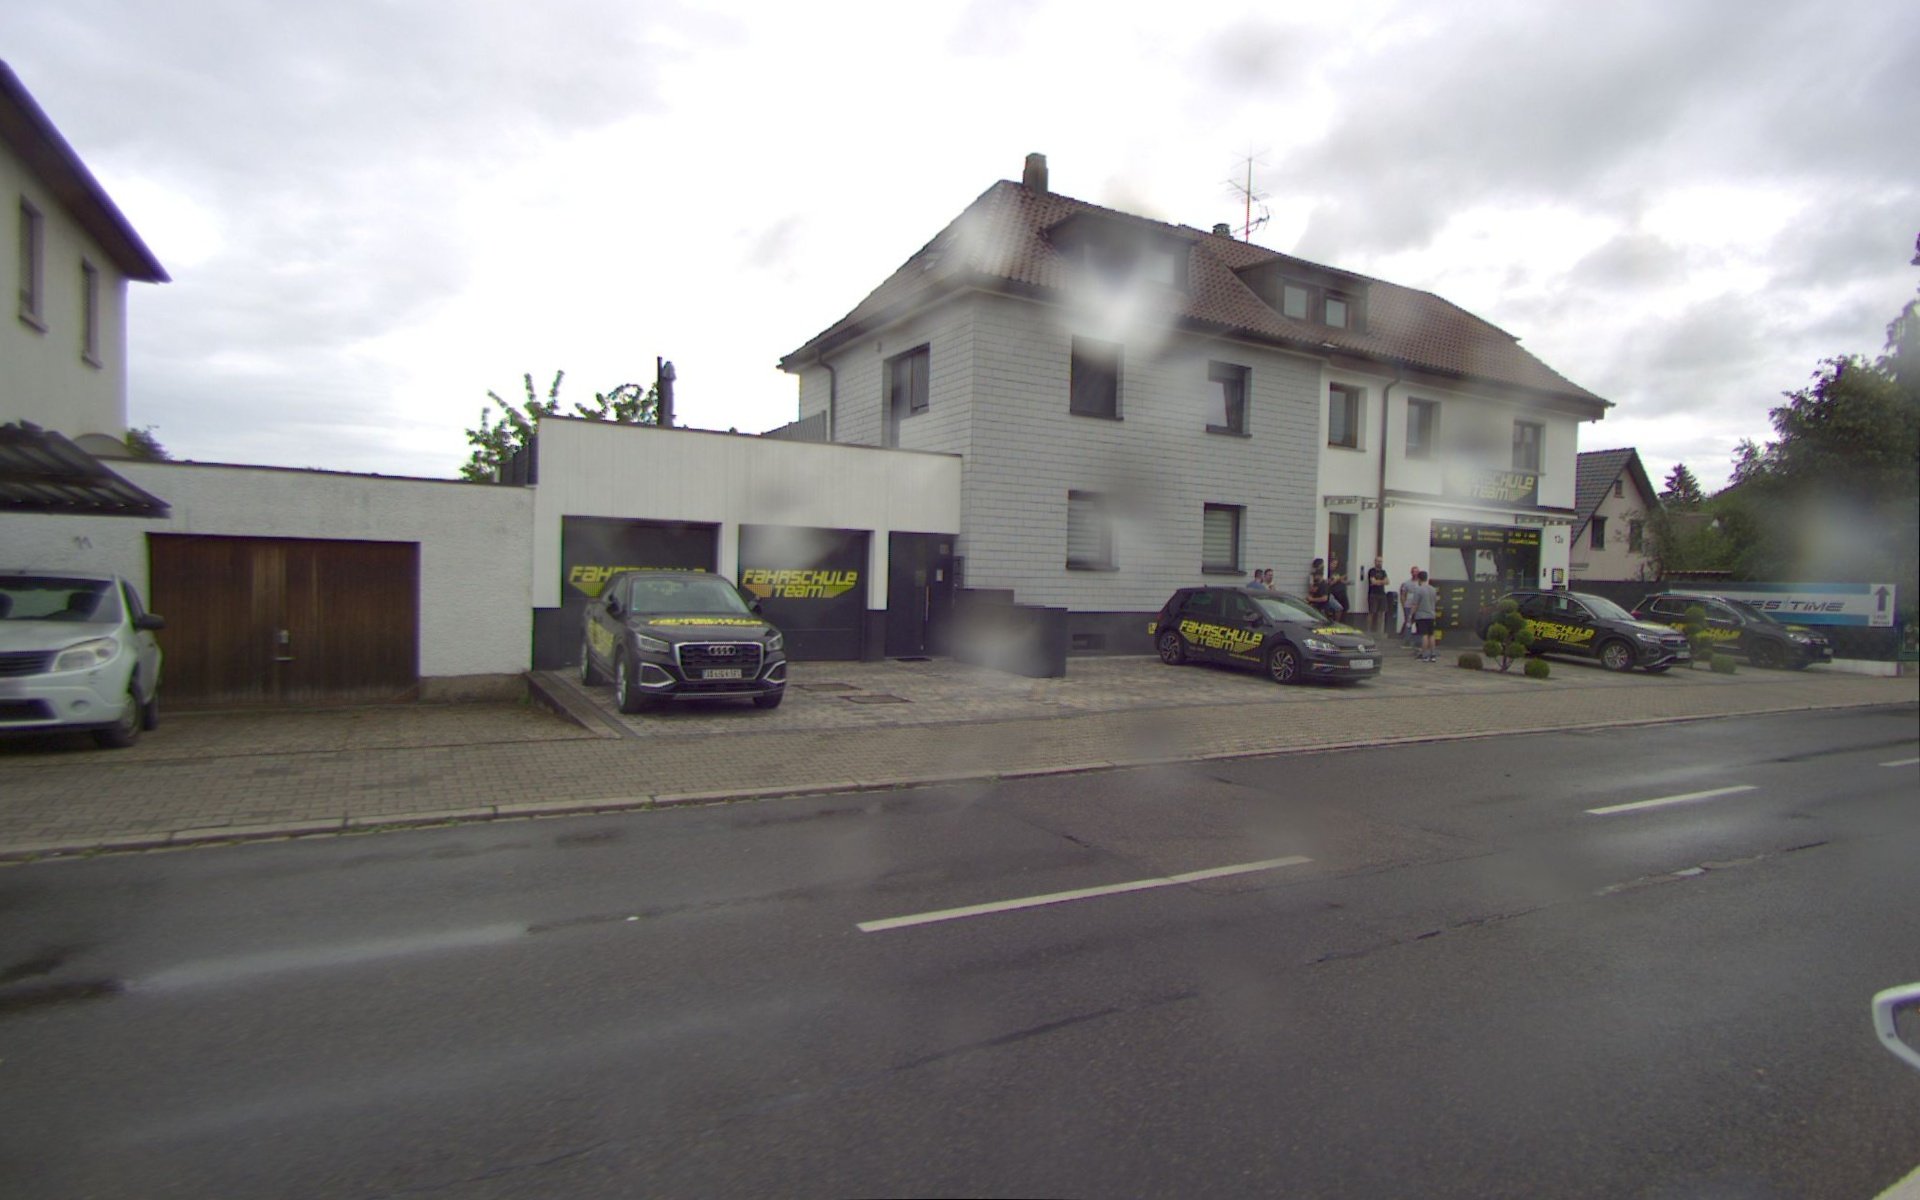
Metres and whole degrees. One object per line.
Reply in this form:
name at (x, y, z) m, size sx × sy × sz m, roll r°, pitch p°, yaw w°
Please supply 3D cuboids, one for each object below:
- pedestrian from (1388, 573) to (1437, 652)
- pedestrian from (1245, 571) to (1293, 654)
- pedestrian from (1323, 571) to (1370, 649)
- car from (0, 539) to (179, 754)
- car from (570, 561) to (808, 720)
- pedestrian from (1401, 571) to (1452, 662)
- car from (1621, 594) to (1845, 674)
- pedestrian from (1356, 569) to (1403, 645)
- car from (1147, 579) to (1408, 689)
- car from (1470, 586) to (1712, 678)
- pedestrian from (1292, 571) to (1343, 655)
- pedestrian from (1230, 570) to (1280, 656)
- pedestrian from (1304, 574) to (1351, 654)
pedestrian at (9.885, 0.268, 21.951) m, size 0.640 × 1.688 × 0.599 m, roll 1°, pitch 4°, yaw -22°
pedestrian at (6.516, 0.264, 21.206) m, size 0.641 × 1.688 × 0.598 m, roll 1°, pitch 4°, yaw -25°
pedestrian at (8.658, 0.219, 22.522) m, size 0.641 × 1.688 × 0.598 m, roll 1°, pitch 4°, yaw -25°
car at (-8.124, 0.418, 8.701) m, size 1.837 × 1.536 × 3.963 m, roll 1°, pitch -3°, yaw -34°
car at (-3.414, 0.351, 12.080) m, size 1.833 × 1.536 × 3.968 m, roll 1°, pitch 2°, yaw -29°
pedestrian at (9.638, 0.341, 20.757) m, size 0.643 × 1.815 × 0.596 m, roll 0°, pitch 4°, yaw -35°
car at (19.610, 0.802, 25.682) m, size 1.833 × 1.536 × 4.053 m, roll 2°, pitch 4°, yaw -29°
pedestrian at (9.556, 0.151, 22.902) m, size 0.641 × 1.688 × 0.598 m, roll 1°, pitch 4°, yaw -25°
car at (5.251, 0.497, 17.142) m, size 1.833 × 1.536 × 4.053 m, roll 1°, pitch 2°, yaw -29°
car at (13.739, 0.632, 22.145) m, size 1.833 × 1.536 × 4.053 m, roll 2°, pitch 4°, yaw -29°
pedestrian at (7.377, 0.269, 20.741) m, size 0.641 × 1.688 × 0.598 m, roll 1°, pitch 4°, yaw -25°
pedestrian at (5.993, 0.254, 20.405) m, size 0.641 × 1.688 × 0.598 m, roll 1°, pitch 4°, yaw -25°
pedestrian at (8.050, 0.308, 22.033) m, size 0.641 × 1.688 × 0.598 m, roll 1°, pitch 4°, yaw -25°
